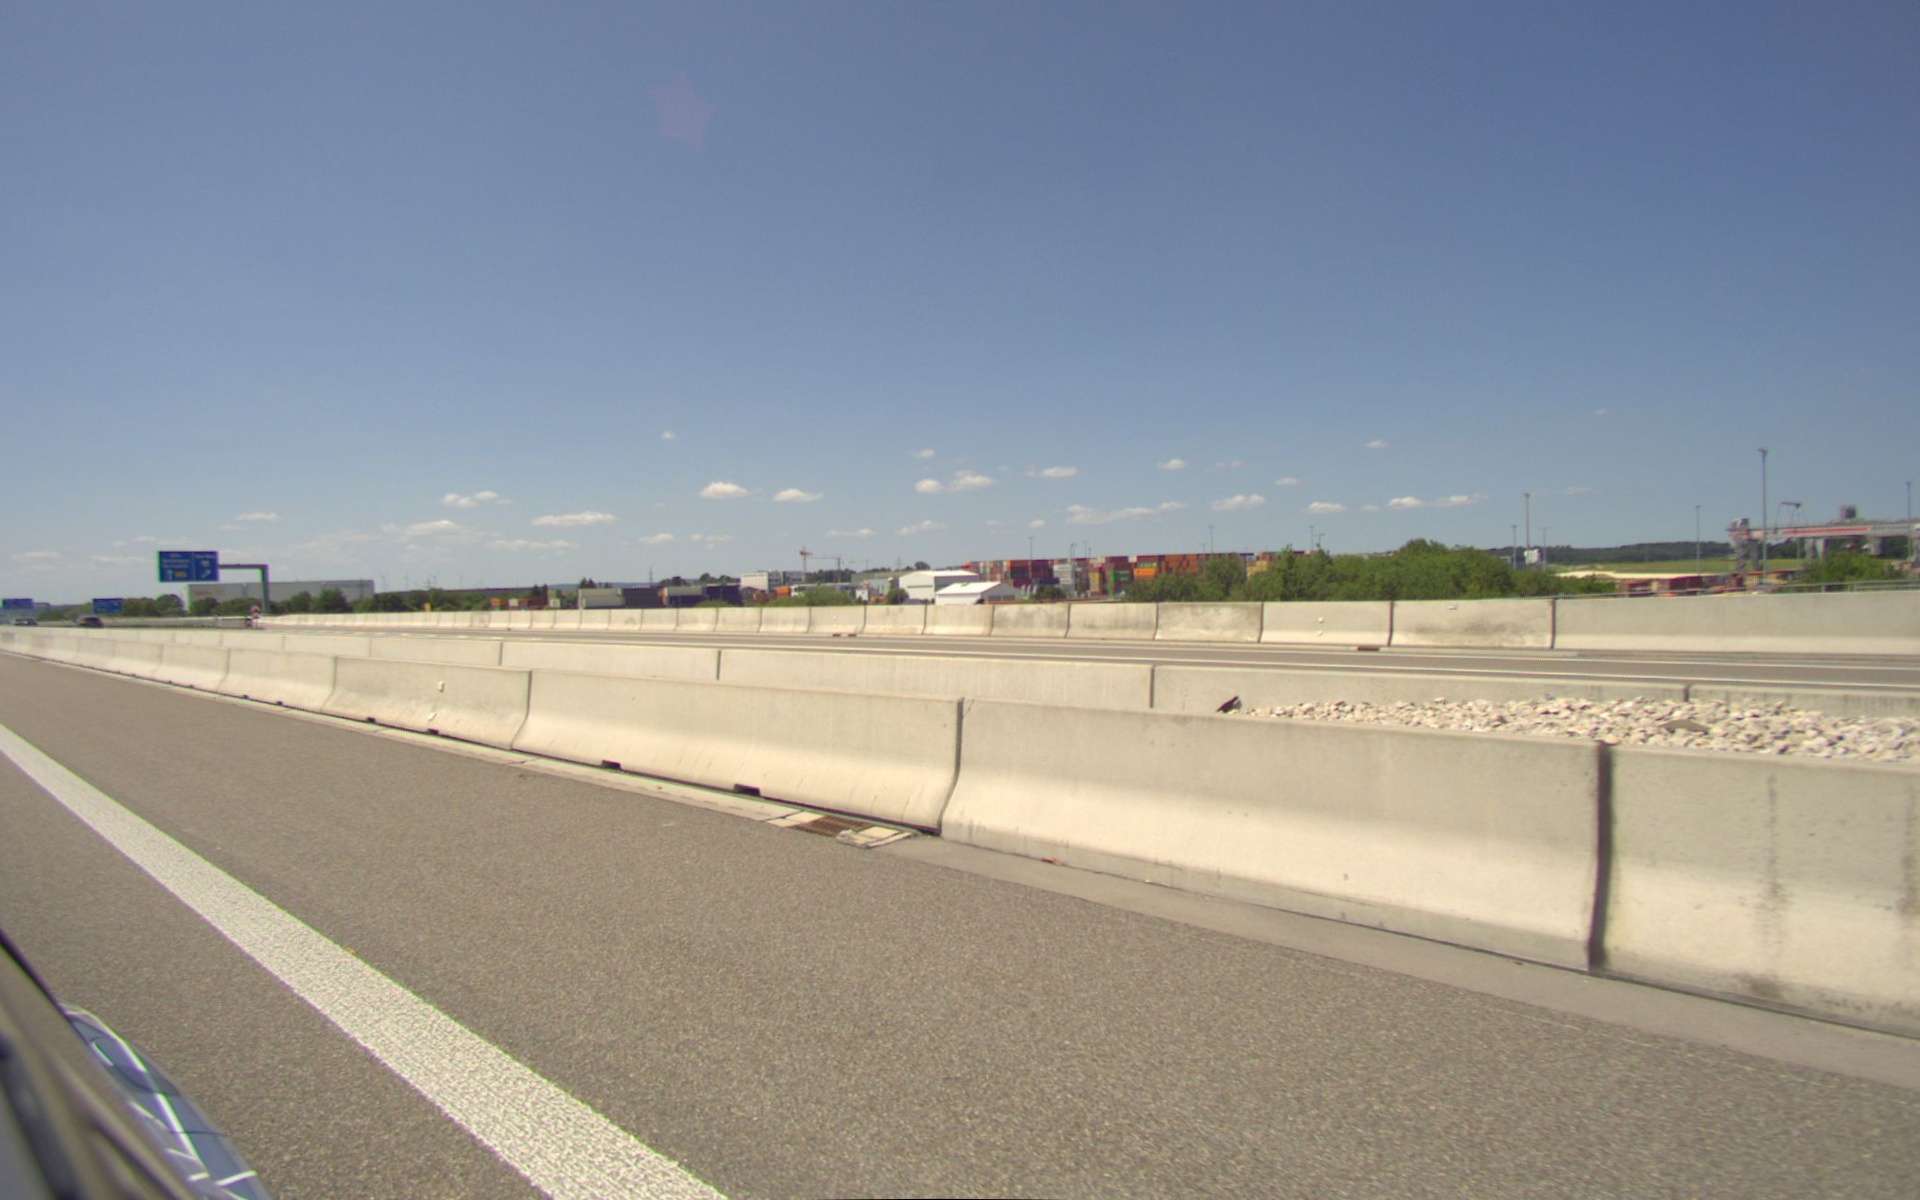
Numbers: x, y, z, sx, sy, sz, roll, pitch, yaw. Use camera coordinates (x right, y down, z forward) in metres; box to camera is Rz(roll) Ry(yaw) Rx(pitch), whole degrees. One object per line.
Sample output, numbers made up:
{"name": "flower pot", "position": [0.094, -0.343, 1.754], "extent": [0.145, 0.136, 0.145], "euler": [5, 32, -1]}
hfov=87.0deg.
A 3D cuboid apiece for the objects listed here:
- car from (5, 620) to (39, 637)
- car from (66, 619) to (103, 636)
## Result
{"name": "car", "position": [-83.000, 2.503, 89.524], "extent": [4.524, 1.431, 1.823], "euler": [-1, 0, 42]}
{"name": "car", "position": [-77.633, 2.405, 89.754], "extent": [4.907, 1.431, 1.892], "euler": [-1, 0, 42]}
